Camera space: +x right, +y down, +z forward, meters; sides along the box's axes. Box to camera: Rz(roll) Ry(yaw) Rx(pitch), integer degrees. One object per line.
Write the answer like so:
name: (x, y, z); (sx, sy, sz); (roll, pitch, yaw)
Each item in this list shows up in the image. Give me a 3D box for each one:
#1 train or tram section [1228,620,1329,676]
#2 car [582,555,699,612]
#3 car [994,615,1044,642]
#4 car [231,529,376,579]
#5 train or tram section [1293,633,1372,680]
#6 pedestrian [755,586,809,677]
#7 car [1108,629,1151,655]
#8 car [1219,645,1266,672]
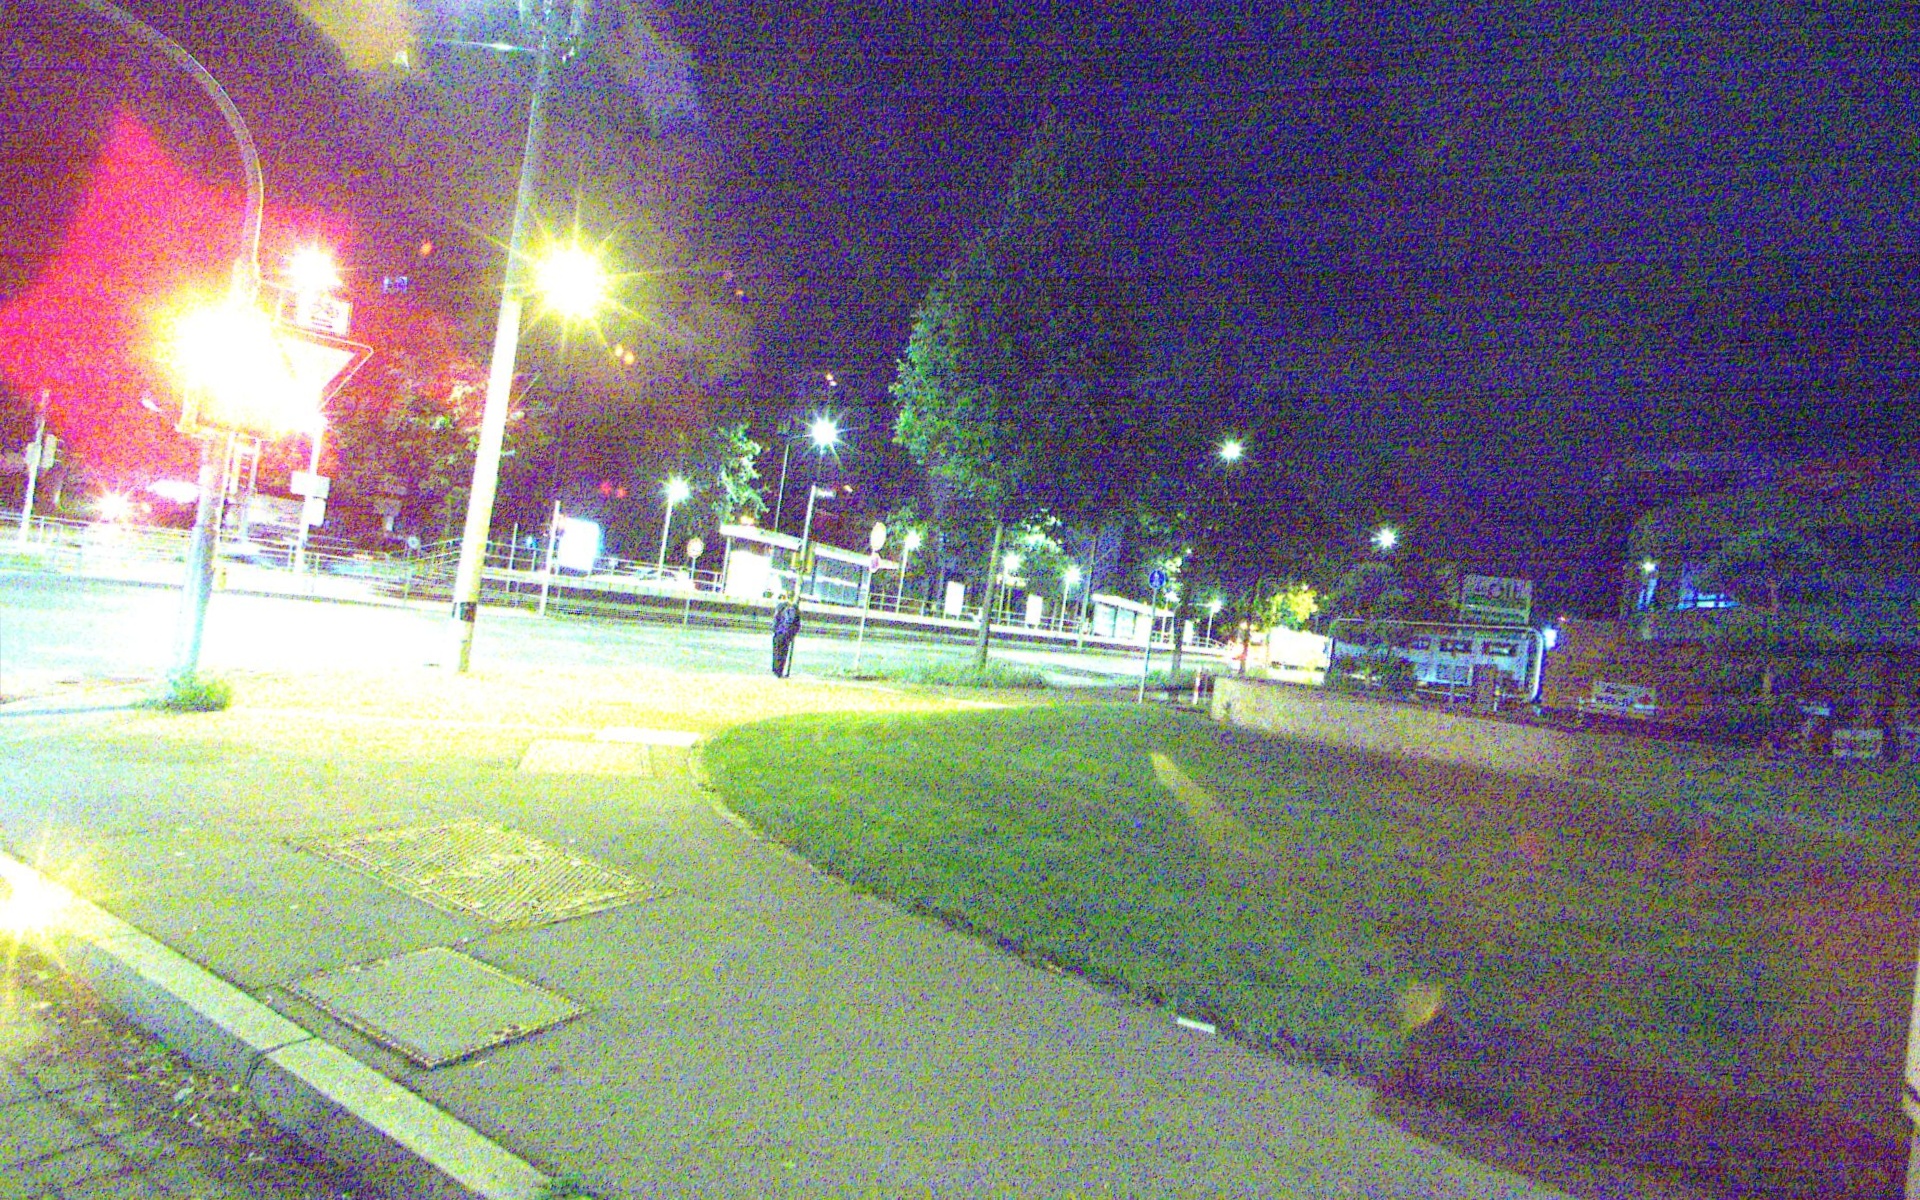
train or tram section: (29.445, 4.570, 91.979); (2.918, 3.896, 18.427); (8, 0, 35)
car: (-14.362, -0.710, 45.455); (1.814, 1.865, 4.785); (7, -2, 35)
car: (4.611, 2.214, 78.538); (1.776, 1.603, 4.237); (5, -3, 36)
car: (-25.705, -1.784, 39.537); (1.814, 1.405, 4.329); (5, -1, 35)
train or tram section: (39.997, 6.169, 107.195); (2.919, 3.894, 18.866); (5, -2, 35)
pedestrian: (-3.435, 0.597, 19.361); (0.867, 1.677, 0.835); (2, 1, -18)
car: (14.829, 3.681, 87.813); (1.816, 1.603, 4.578); (8, -2, 33)
car: (17.961, 3.724, 63.913); (1.617, 1.438, 3.687); (7, 0, 35)
